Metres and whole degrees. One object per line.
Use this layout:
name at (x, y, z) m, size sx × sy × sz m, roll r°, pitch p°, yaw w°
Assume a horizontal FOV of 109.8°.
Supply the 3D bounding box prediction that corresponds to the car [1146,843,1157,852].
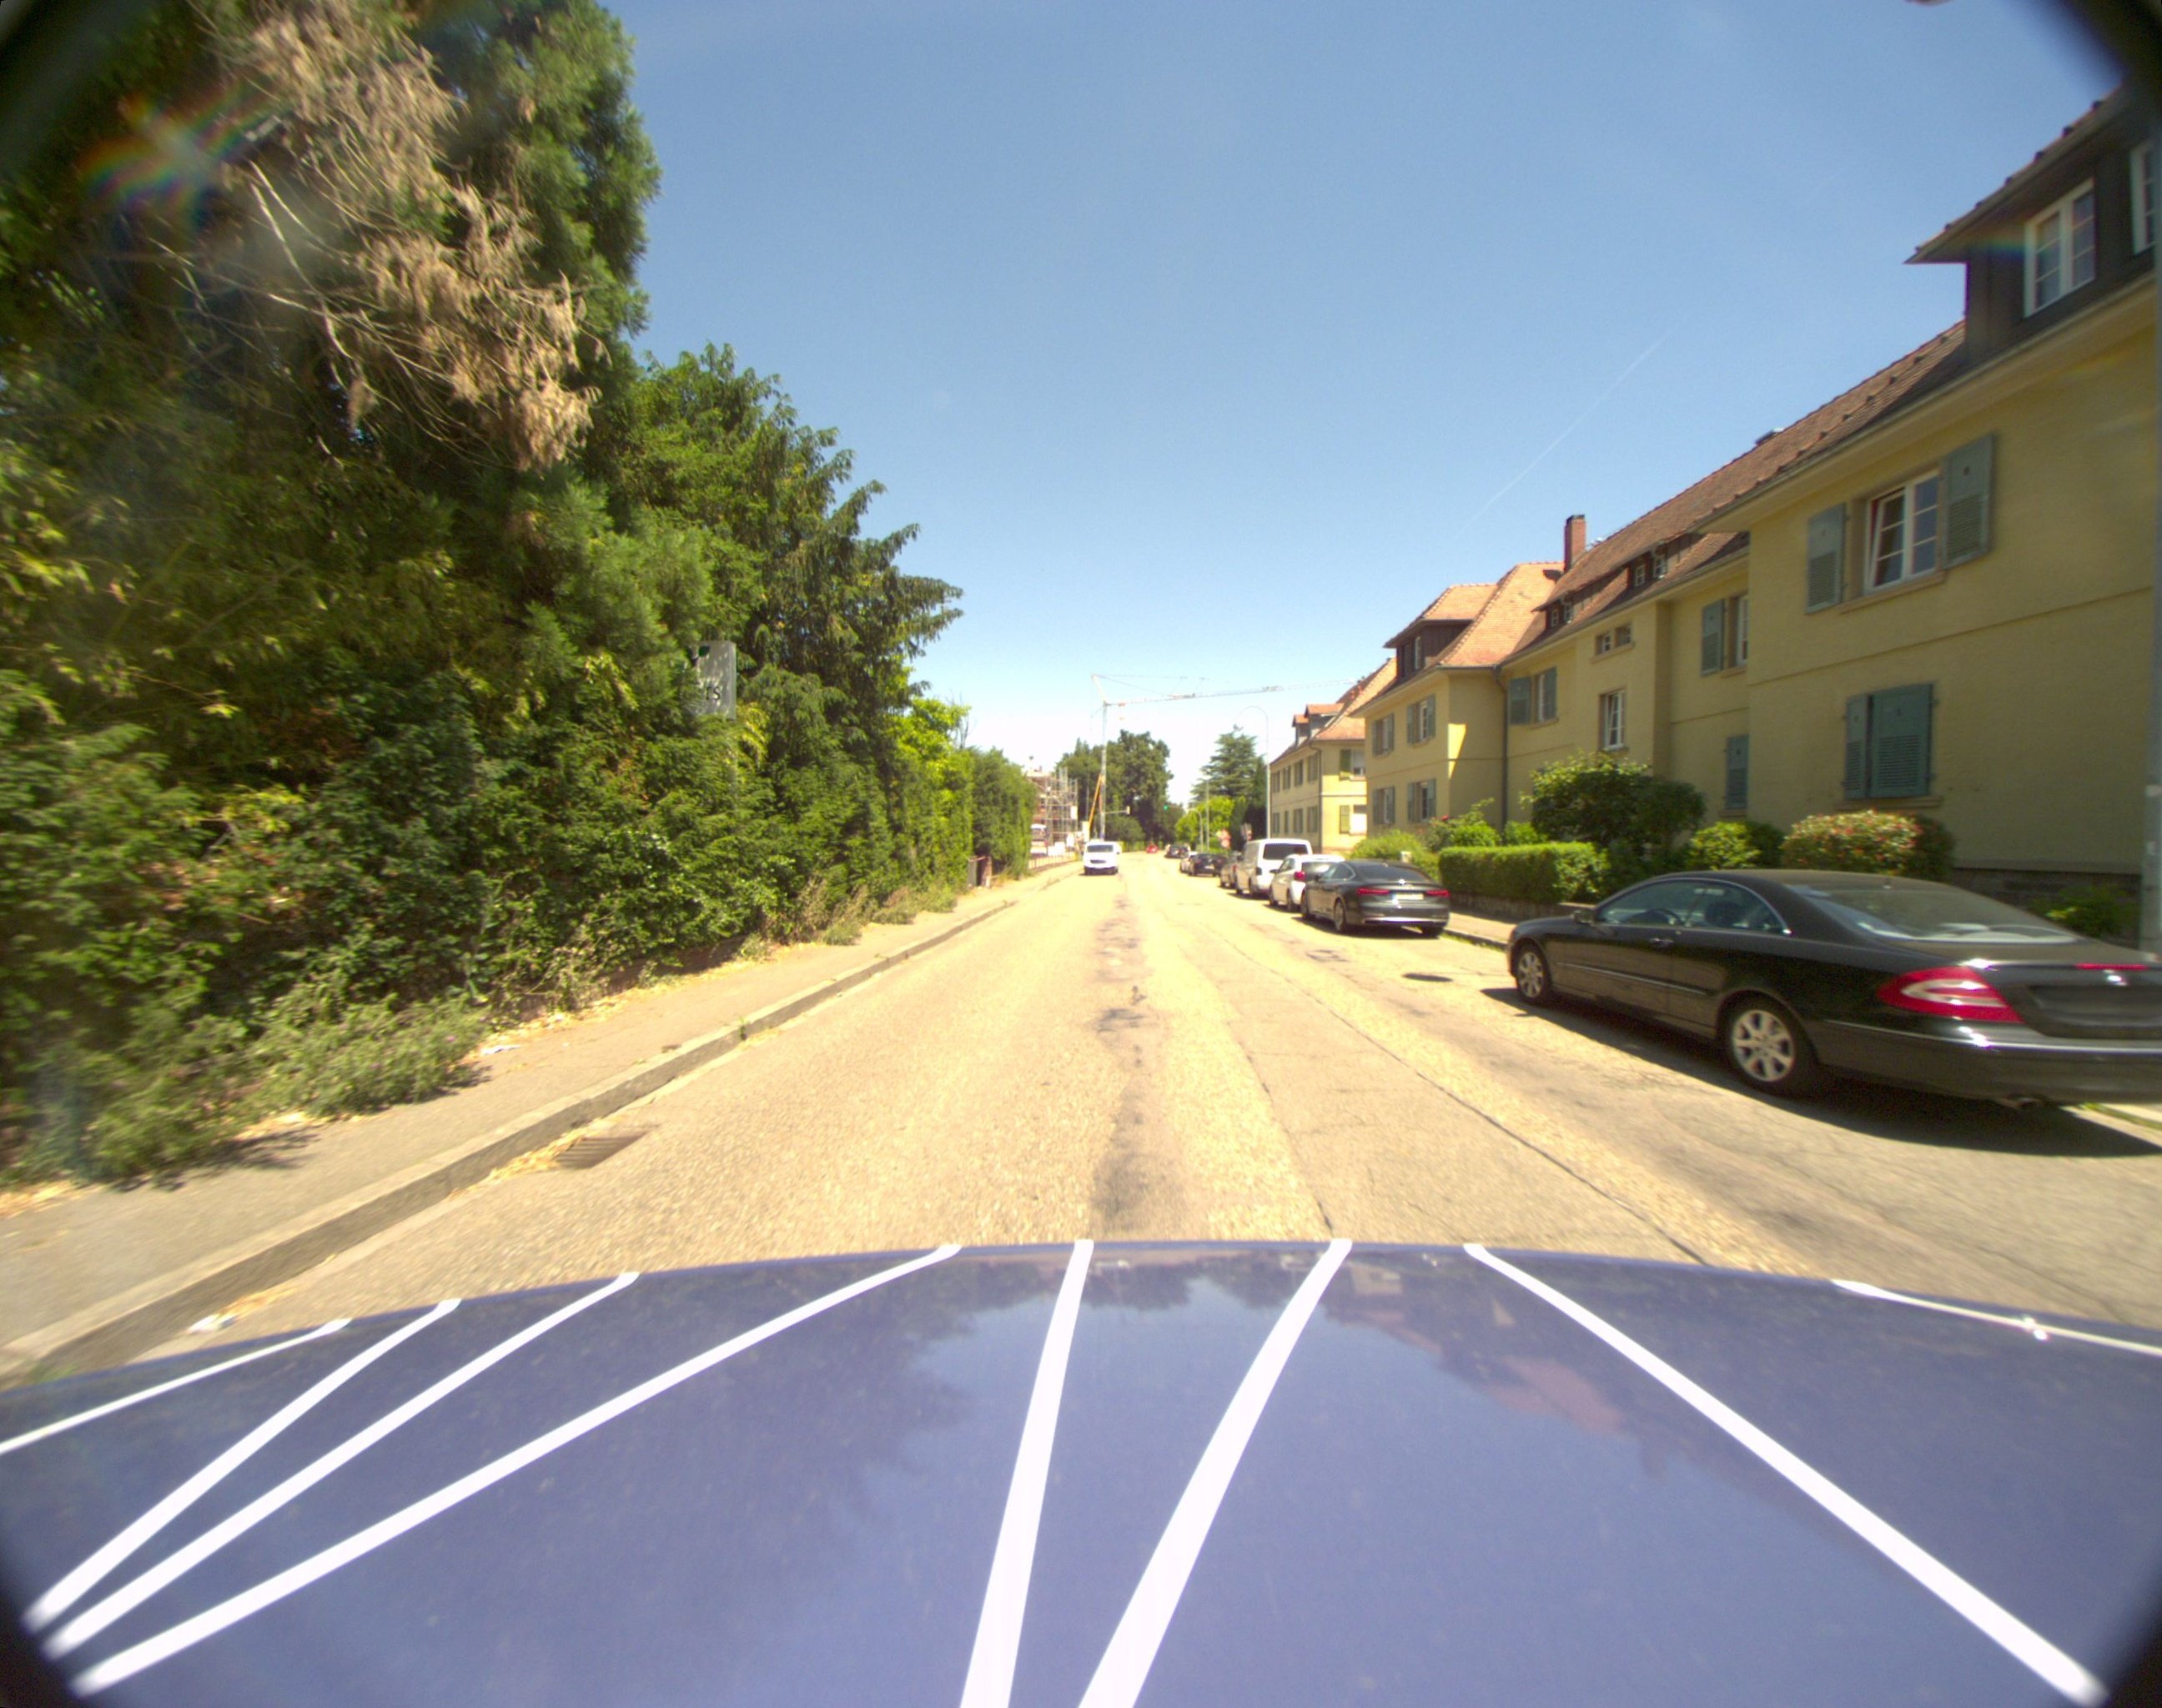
car at (12.909, -1.181, 139.281) m, size 1.757 × 1.609 × 3.575 m, roll 0°, pitch 1°, yaw 8°

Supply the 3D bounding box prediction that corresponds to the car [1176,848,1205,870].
car at (8.075, 0.356, 56.279) m, size 1.763 × 1.439 × 3.924 m, roll 1°, pitch 1°, yaw 2°

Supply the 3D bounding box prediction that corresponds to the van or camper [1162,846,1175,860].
van or camper at (12.036, -0.214, 104.181) m, size 1.684 × 1.794 × 3.987 m, roll 2°, pitch 2°, yaw 8°

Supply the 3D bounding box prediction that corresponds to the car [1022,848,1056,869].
car at (-3.250, 0.300, 59.549) m, size 1.714 × 1.515 × 3.842 m, roll 0°, pitch 1°, yaw 11°

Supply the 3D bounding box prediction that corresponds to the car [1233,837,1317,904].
car at (6.290, 0.475, 25.132) m, size 1.882 × 1.952 × 4.626 m, roll 2°, pitch 1°, yaw 5°

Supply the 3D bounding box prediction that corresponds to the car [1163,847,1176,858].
car at (12.785, -0.237, 109.735) m, size 1.684 × 1.433 × 4.249 m, roll 2°, pitch 2°, yaw 10°

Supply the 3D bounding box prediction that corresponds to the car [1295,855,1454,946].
car at (5.582, 0.793, 15.076) m, size 1.670 × 1.484 × 4.466 m, roll 0°, pitch 1°, yaw 3°

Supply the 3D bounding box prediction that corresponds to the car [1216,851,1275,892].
car at (6.771, 0.676, 31.607) m, size 1.690 × 1.516 × 4.062 m, roll 2°, pitch 1°, yaw 3°

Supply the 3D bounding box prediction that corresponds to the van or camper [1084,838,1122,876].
van or camper at (1.424, 0.134, 46.477) m, size 1.998 × 1.968 × 5.361 m, roll -3°, pitch 2°, yaw 4°

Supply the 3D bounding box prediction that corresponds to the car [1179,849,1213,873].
car at (7.651, 0.444, 51.026) m, size 1.798 × 1.394 × 4.218 m, roll 1°, pitch 1°, yaw 2°

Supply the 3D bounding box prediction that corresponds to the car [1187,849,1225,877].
car at (7.412, 0.514, 45.504) m, size 1.719 × 1.477 × 4.076 m, roll 1°, pitch 1°, yaw 2°

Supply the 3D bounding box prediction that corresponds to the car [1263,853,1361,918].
car at (5.930, 0.749, 19.914) m, size 1.670 × 1.484 × 3.478 m, roll 1°, pitch 1°, yaw 3°

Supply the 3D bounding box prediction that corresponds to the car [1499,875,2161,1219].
car at (5.091, 0.956, 5.645) m, size 1.670 × 1.378 × 4.380 m, roll 1°, pitch 1°, yaw 3°

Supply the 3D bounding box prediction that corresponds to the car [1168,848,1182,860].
car at (12.299, 0.030, 99.589) m, size 1.684 × 1.404 × 3.927 m, roll 2°, pitch 2°, yaw 6°
